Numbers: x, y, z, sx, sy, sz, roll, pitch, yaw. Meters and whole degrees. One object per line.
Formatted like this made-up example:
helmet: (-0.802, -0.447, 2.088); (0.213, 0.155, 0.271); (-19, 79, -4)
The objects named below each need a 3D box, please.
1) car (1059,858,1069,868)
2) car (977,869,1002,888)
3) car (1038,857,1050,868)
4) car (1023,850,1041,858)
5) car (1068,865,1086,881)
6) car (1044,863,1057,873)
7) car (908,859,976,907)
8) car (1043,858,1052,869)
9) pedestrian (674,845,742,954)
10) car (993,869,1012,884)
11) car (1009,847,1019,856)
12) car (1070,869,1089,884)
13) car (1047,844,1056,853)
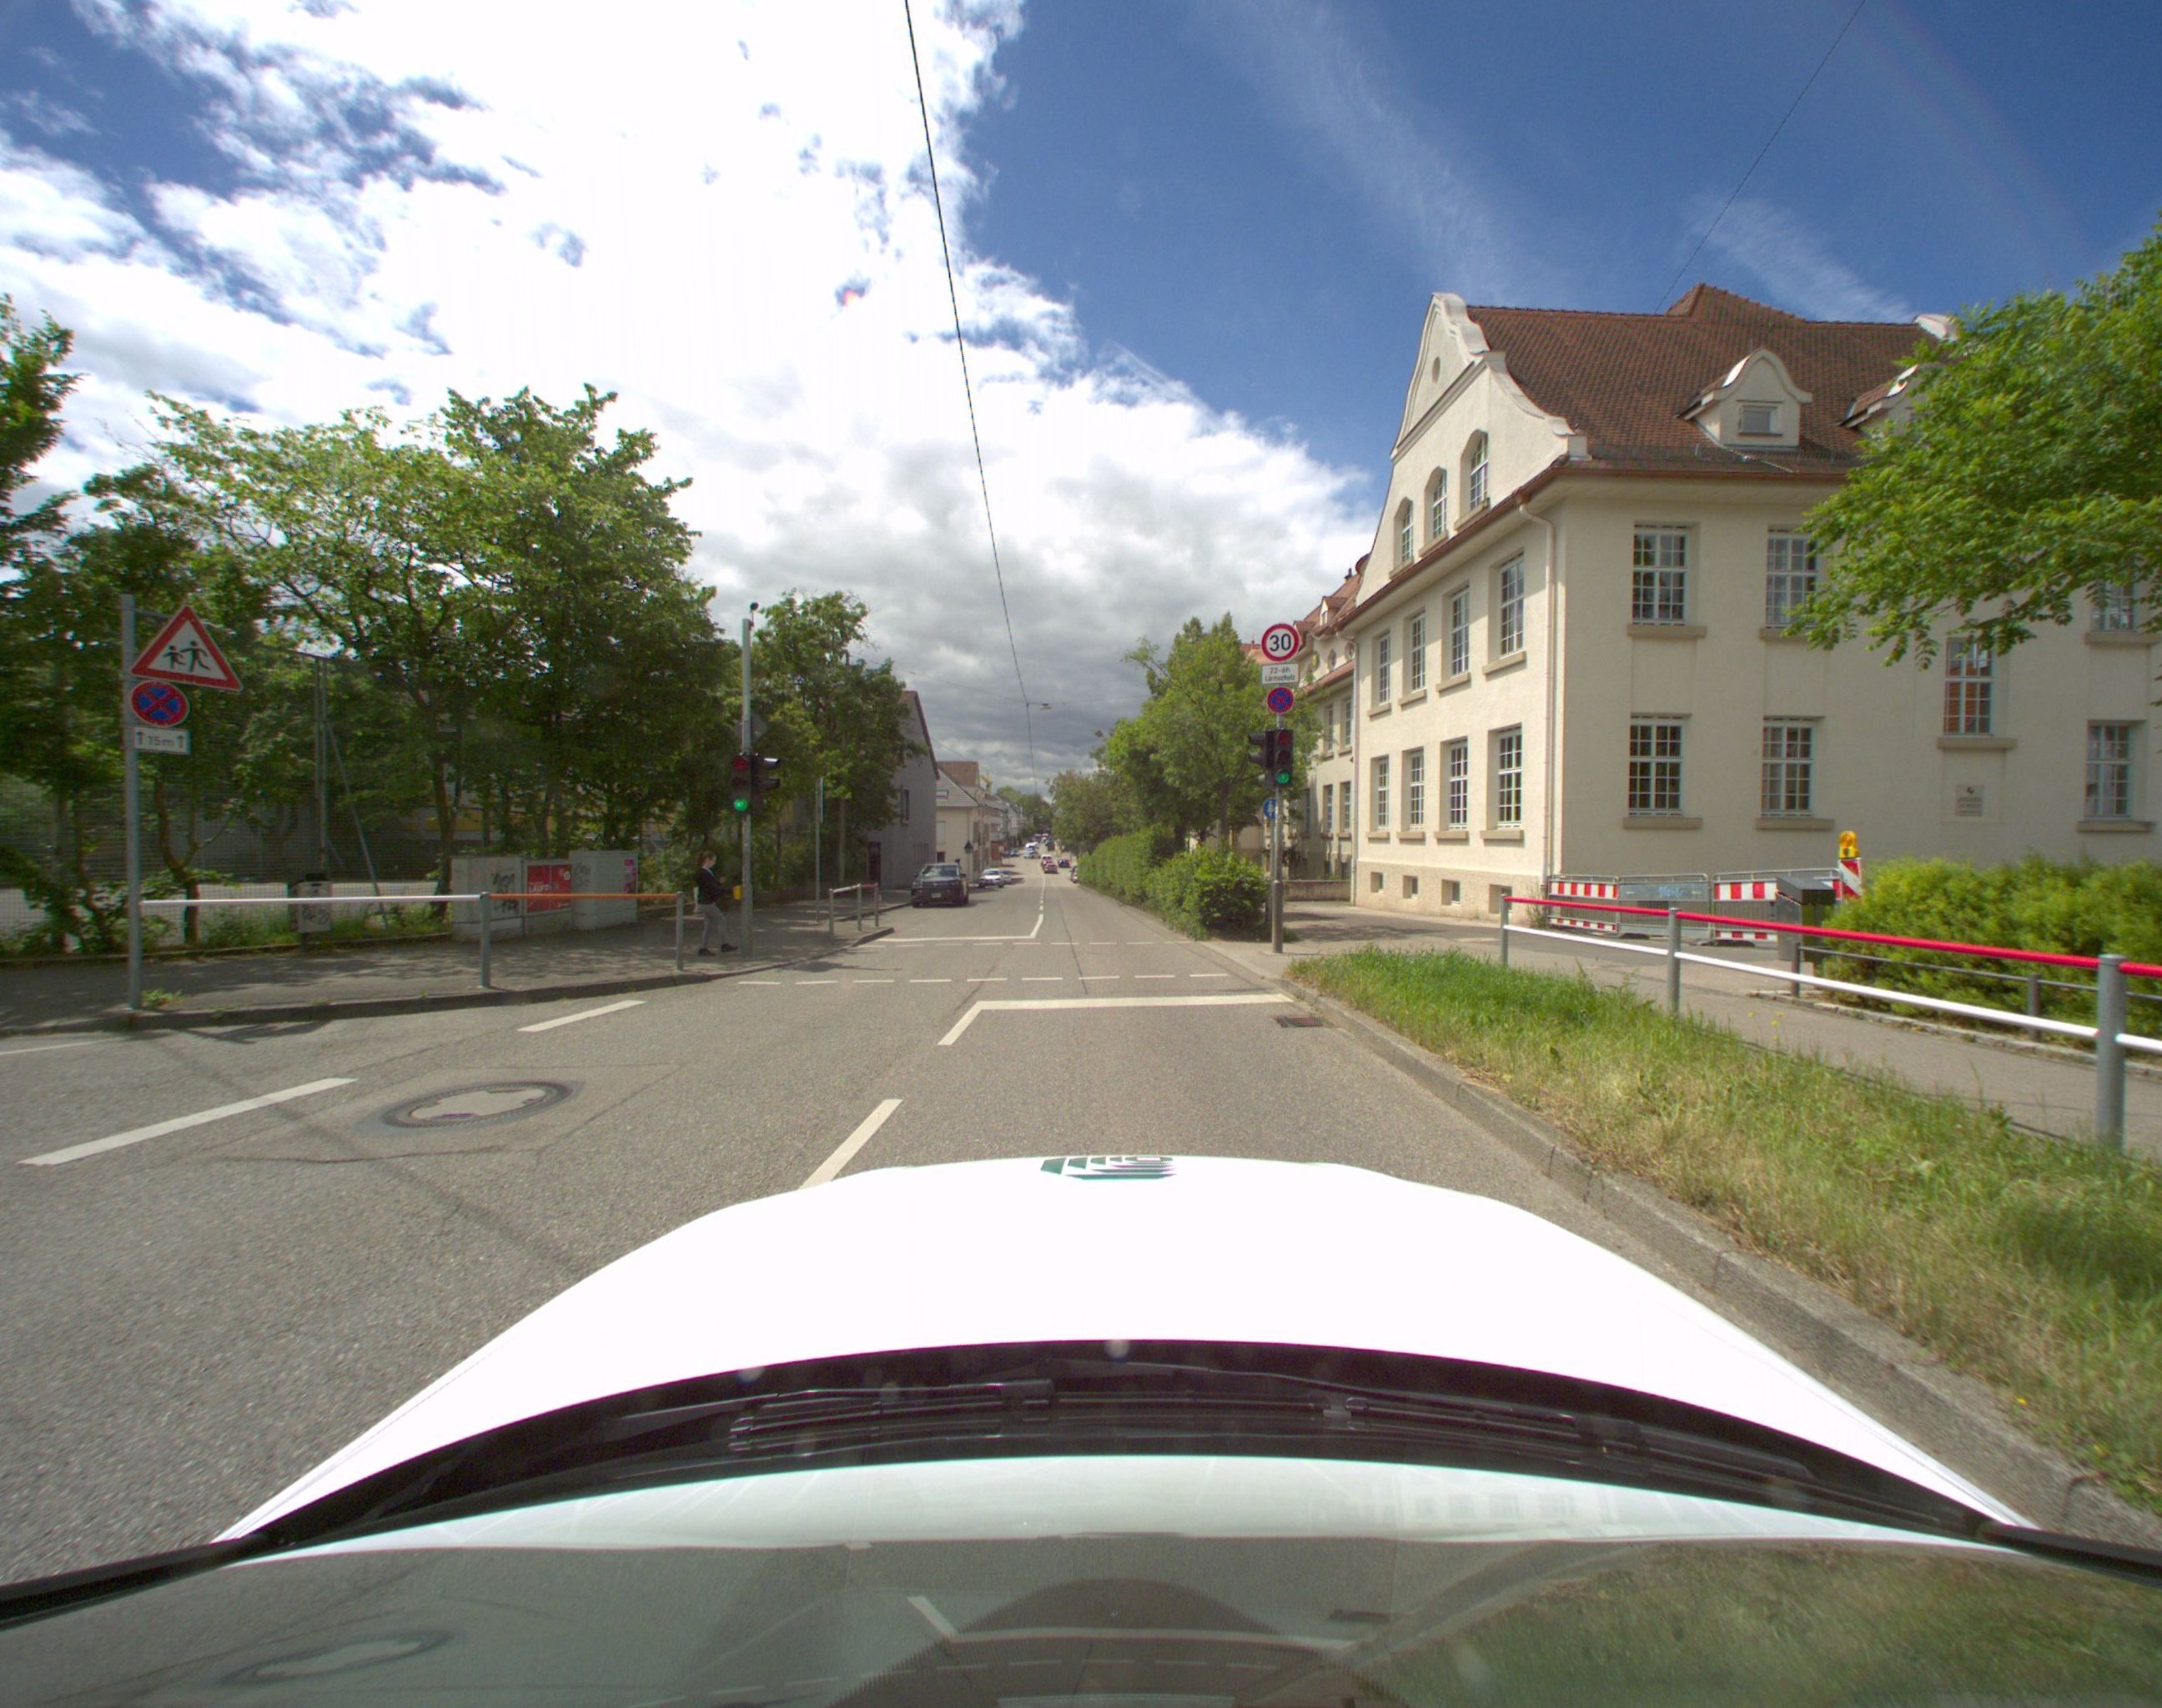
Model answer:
car: (-2.777, 1.424, 133.769); (1.748, 1.370, 3.999); (1, 2, -1)
car: (-7.241, 1.912, 63.973); (1.698, 1.390, 3.851); (0, 0, -11)
car: (-6.223, 1.404, 137.108); (1.831, 1.862, 3.848); (1, 0, -1)
car: (-9.910, -0.084, 164.099); (1.766, 1.492, 4.024); (1, -1, 29)
car: (-0.522, 2.166, 92.948); (1.840, 1.768, 4.510); (1, -1, -3)
car: (-4.433, 1.980, 117.733); (1.740, 1.417, 3.996); (0, 0, -3)
car: (-5.106, 1.019, 30.507); (1.790, 1.610, 4.644); (0, 0, -1)
car: (-5.197, 1.529, 126.827); (1.271, 1.527, 3.047); (0, 3, -3)
pedestrian: (-5.653, 0.666, 12.354); (0.776, 1.597, 0.664); (1, -1, -38)
car: (-7.902, 2.243, 81.958); (1.643, 1.419, 3.694); (1, -1, -3)
car: (-14.517, -0.531, 175.927); (1.867, 1.640, 3.999); (2, -1, 0)
car: (-0.205, 2.397, 87.482); (1.782, 1.509, 4.360); (1, -1, -3)
car: (-7.902, -1.418, 217.733); (2.431, 2.318, 5.321); (2, 0, -3)
